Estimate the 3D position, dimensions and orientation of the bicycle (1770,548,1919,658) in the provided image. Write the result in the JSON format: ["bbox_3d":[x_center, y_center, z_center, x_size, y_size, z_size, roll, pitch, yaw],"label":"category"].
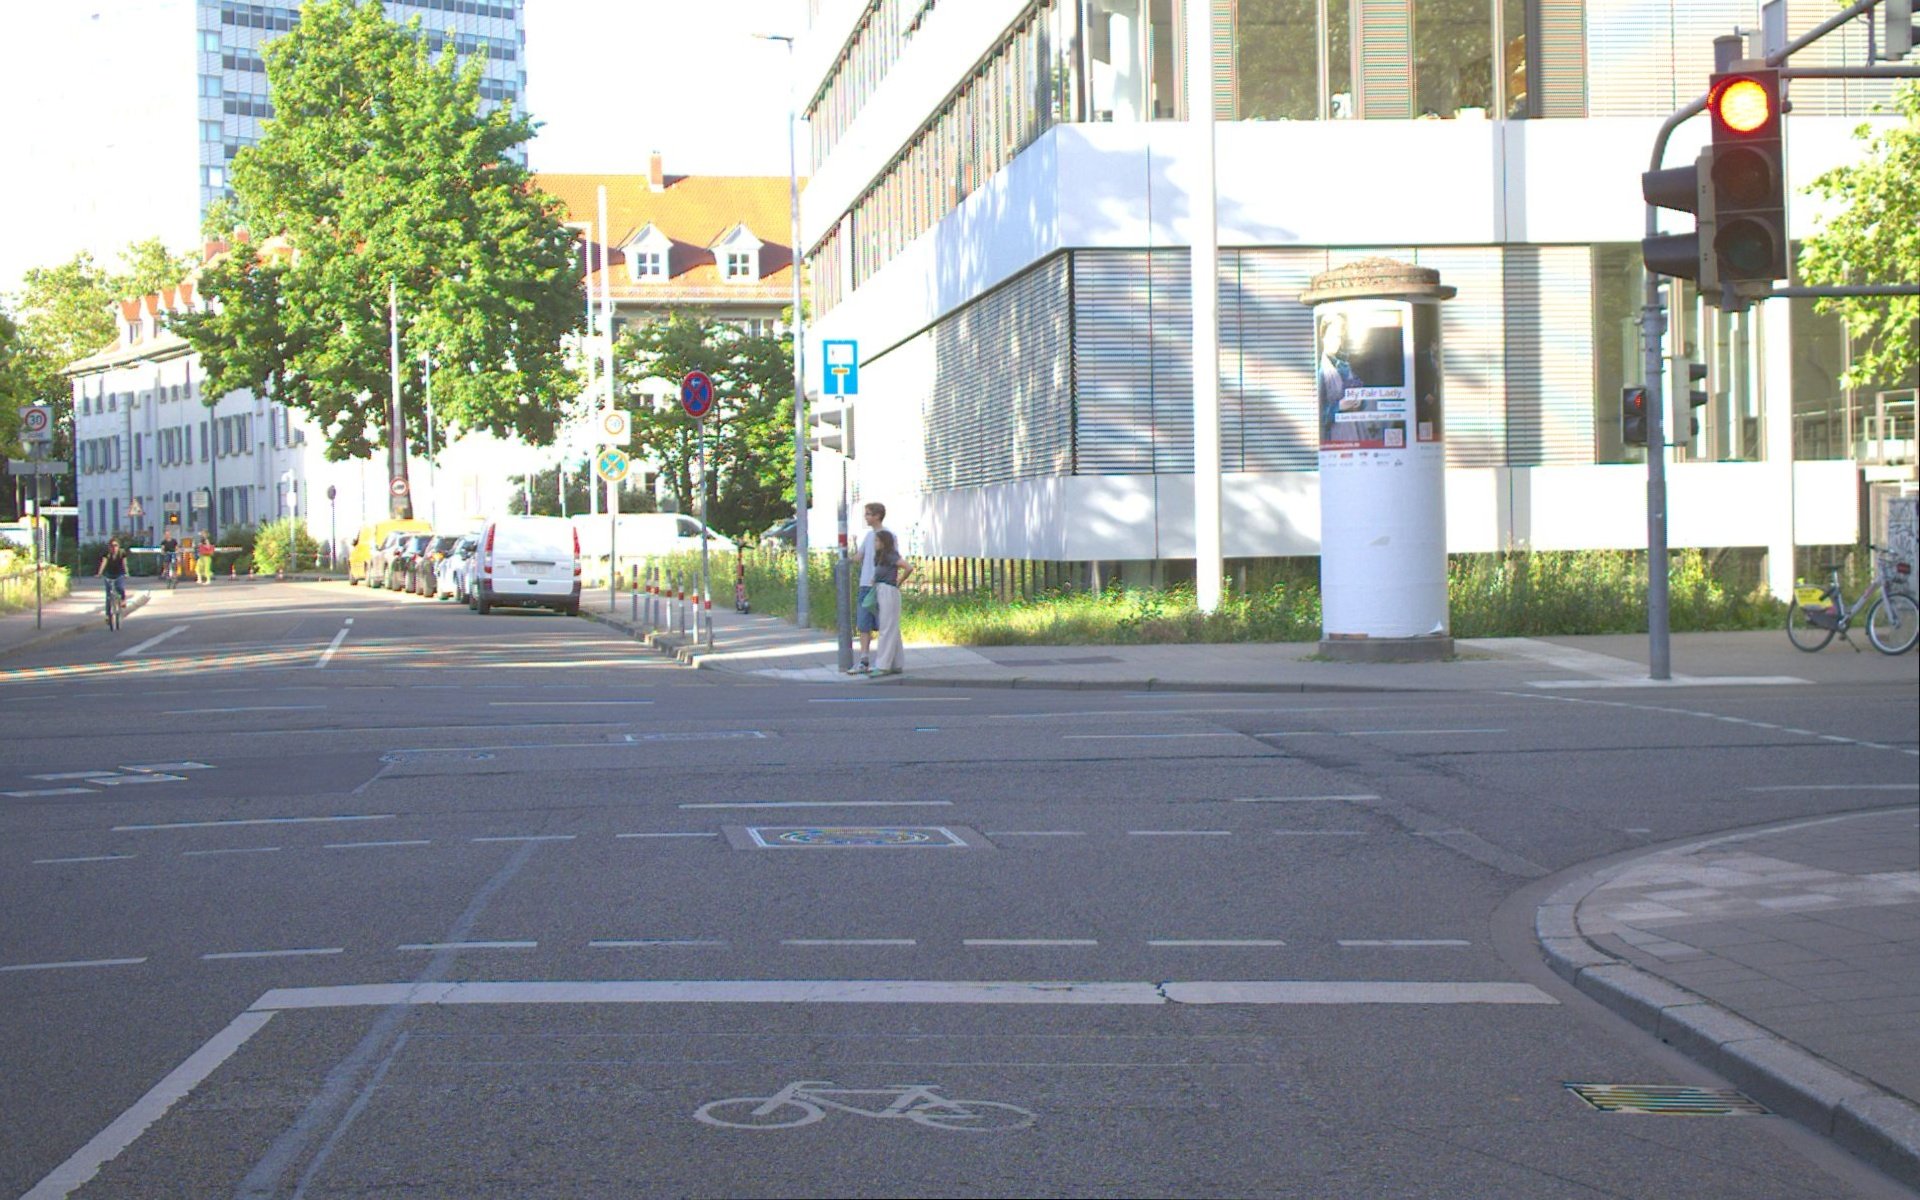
[{"bbox_3d":[9.308,0.020,36.028,0.507,1.045,1.687,-4,5,-35],"label":"bicycle"}]

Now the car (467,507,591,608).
[{"bbox_3d":[-8.149,-0.838,64.723,2.084,1.789,4.417,-1,2,-10],"label":"car"}]

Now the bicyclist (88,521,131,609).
[{"bbox_3d":[-15.114,-0.627,61.100,0.615,1.527,0.903,-2,1,-9],"label":"bicyclist"}]

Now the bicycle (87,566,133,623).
[{"bbox_3d":[-15.103,-0.108,61.097,0.615,0.966,1.842,-2,1,-9],"label":"bicycle"}]

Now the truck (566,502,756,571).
[{"bbox_3d":[-8.968,-1.910,103.042,5.336,2.007,2.001,-1,1,-19],"label":"truck"}]

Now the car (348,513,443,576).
[{"bbox_3d":[-15.701,-1.568,95.487,1.888,1.650,4.417,-1,2,-19],"label":"car"}]

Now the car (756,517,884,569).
[{"bbox_3d":[-4.253,-1.726,104.230,3.554,1.541,1.559,-1,1,-19],"label":"car"}]

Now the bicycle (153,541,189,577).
[{"bbox_3d":[-23.176,-1.209,101.019,0.865,1.006,2.415,-4,1,-11],"label":"bicycle"}]

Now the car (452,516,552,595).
[{"bbox_3d":[-9.749,-0.963,72.934,1.888,1.550,4.417,-1,2,-10],"label":"car"}]

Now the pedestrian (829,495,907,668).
[{"bbox_3d":[-1.007,-0.208,37.798,0.560,1.844,0.677,-3,2,16],"label":"pedestrian"}]

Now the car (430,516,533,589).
[{"bbox_3d":[-10.922,-1.109,78.305,1.888,1.550,4.417,-1,2,-13],"label":"car"}]

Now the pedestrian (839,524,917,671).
[{"bbox_3d":[-0.891,-0.037,37.195,0.559,1.535,0.677,-5,2,-18],"label":"pedestrian"}]

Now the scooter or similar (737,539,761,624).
[{"bbox_3d":[-3.593,-0.322,58.562,0.330,1.419,1.335,1,0,-6],"label":"scooter or similar"}]

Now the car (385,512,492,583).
[{"bbox_3d":[-13.005,-1.326,85.552,1.888,1.650,4.417,-1,2,-19],"label":"car"}]

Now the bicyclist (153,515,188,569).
[{"bbox_3d":[-23.201,-1.707,101.026,0.865,1.510,1.019,-4,1,-11],"label":"bicyclist"}]

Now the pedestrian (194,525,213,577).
[{"bbox_3d":[-23.477,-1.535,106.629,0.433,1.602,0.493,-2,1,-26],"label":"pedestrian"}]
